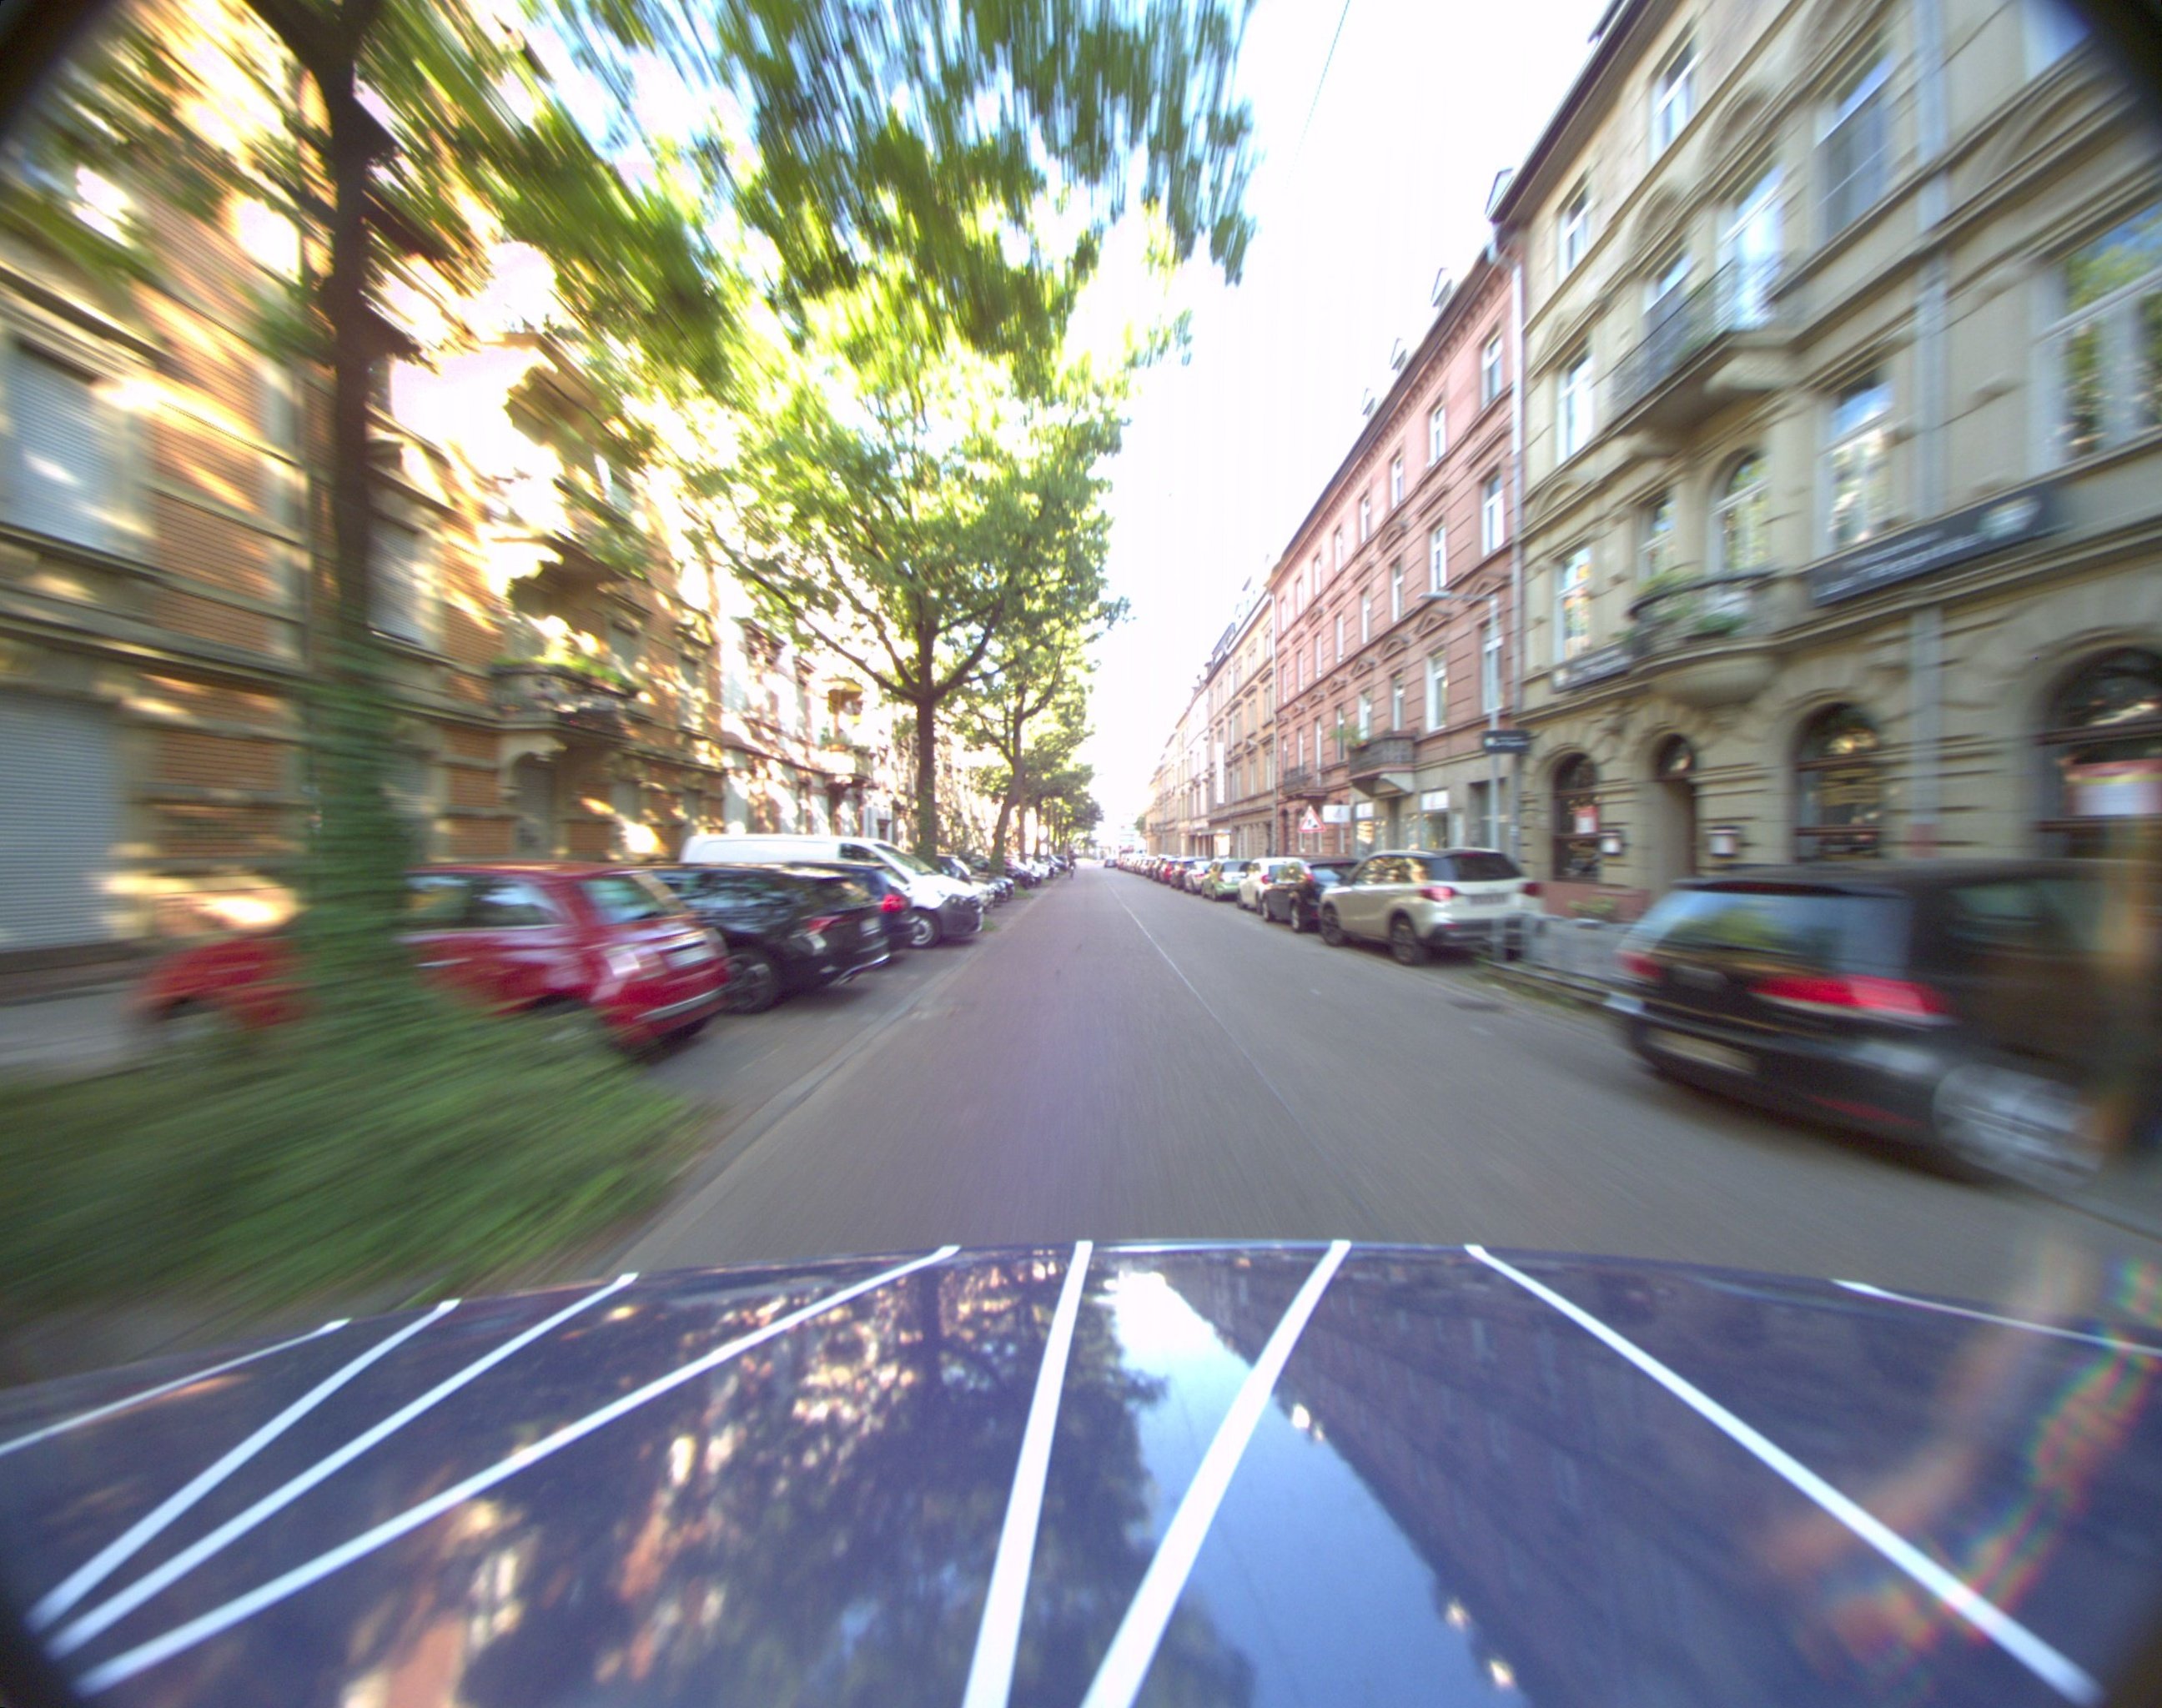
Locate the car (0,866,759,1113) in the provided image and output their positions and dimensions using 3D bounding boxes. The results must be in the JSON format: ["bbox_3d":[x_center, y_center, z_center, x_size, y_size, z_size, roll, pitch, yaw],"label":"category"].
[{"bbox_3d":[-4.831,0.855,5.636,4.091,1.489,1.843,0,0,1],"label":"car"}]

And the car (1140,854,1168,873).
[{"bbox_3d":[5.759,0.743,60.264,1.761,1.464,4.088,0,0,0],"label":"car"}]

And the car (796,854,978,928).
[{"bbox_3d":[-4.511,0.835,18.132,3.895,1.639,1.724,0,0,-2],"label":"car"}]

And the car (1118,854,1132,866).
[{"bbox_3d":[5.785,0.773,99.333,1.641,1.482,3.825,-1,0,1],"label":"car"}]

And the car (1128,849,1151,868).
[{"bbox_3d":[5.840,0.448,76.502,1.847,1.822,4.606,-1,0,-1],"label":"car"}]

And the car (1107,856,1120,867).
[{"bbox_3d":[4.863,1.128,114.476,1.868,1.620,3.825,-1,0,2],"label":"car"}]

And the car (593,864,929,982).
[{"bbox_3d":[-4.245,0.905,10.679,3.999,1.466,1.780,1,0,-7],"label":"car"}]

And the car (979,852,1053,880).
[{"bbox_3d":[-4.043,0.728,48.047,4.487,1.647,1.891,-1,2,-1],"label":"car"}]

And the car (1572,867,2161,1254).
[{"bbox_3d":[5.237,0.859,4.169,3.999,1.521,1.825,0,0,-5],"label":"car"}]

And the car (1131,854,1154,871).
[{"bbox_3d":[5.696,0.755,71.008,1.751,1.464,4.244,-1,0,0],"label":"car"}]

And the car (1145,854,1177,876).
[{"bbox_3d":[5.637,0.749,53.872,1.867,1.464,4.489,0,0,1],"label":"car"}]

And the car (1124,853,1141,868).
[{"bbox_3d":[5.925,0.677,87.628,1.771,1.648,4.158,-1,0,1],"label":"car"}]

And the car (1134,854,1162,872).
[{"bbox_3d":[5.695,0.753,64.988,1.891,1.436,4.542,-1,0,-1],"label":"car"}]

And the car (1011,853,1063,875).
[{"bbox_3d":[-3.670,0.858,63.564,4.134,1.778,1.945,0,0,2],"label":"car"}]

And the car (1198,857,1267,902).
[{"bbox_3d":[5.257,0.854,26.869,1.709,1.430,3.959,0,0,1],"label":"car"}]

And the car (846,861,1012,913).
[{"bbox_3d":[-4.545,0.983,23.292,4.671,1.494,1.932,0,0,0],"label":"car"}]

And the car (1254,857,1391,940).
[{"bbox_3d":[5.047,0.850,16.442,1.651,1.464,4.000,-3,0,0],"label":"car"}]

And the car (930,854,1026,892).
[{"bbox_3d":[-4.416,0.818,33.164,3.998,1.581,1.782,0,0,-3],"label":"car"}]

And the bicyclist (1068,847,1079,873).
[{"bbox_3d":[-0.525,0.417,53.569,0.712,1.865,1.120,0,1,1],"label":"bicyclist"}]

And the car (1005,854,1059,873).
[{"bbox_3d":[-3.860,0.744,60.793,4.155,1.446,1.936,1,0,0],"label":"car"}]

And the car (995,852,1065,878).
[{"bbox_3d":[-3.399,0.725,50.958,4.486,1.647,1.891,-1,2,2],"label":"car"}]

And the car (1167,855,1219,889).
[{"bbox_3d":[5.305,0.813,36.424,1.825,1.468,4.423,-2,0,0],"label":"car"}]

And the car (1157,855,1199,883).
[{"bbox_3d":[5.432,0.831,42.970,1.825,1.417,4.313,-2,0,0],"label":"car"}]

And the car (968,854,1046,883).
[{"bbox_3d":[-4.115,0.810,42.851,4.234,1.527,1.801,-1,0,-2],"label":"car"}]

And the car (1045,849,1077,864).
[{"bbox_3d":[-3.042,0.393,115.657,4.699,1.966,1.925,4,1,1],"label":"car"}]

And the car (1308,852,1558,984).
[{"bbox_3d":[5.046,0.802,11.582,1.652,1.565,4.048,-3,0,-4],"label":"car"}]

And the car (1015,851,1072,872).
[{"bbox_3d":[-3.367,0.668,67.949,4.933,1.623,2.078,2,0,-3],"label":"car"}]

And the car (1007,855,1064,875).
[{"bbox_3d":[-3.292,0.803,55.608,3.996,1.448,1.687,-1,0,1],"label":"car"}]

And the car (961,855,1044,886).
[{"bbox_3d":[-3.916,0.800,38.467,3.997,1.380,1.677,2,0,0],"label":"car"}]

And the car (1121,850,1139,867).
[{"bbox_3d":[5.975,0.533,93.800,1.947,2.045,4.745,-1,0,1],"label":"car"}]

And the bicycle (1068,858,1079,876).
[{"bbox_3d":[-0.541,0.891,53.526,0.712,1.252,1.887,0,0,1],"label":"bicycle"}]

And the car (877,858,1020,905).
[{"bbox_3d":[-4.504,0.913,26.352,4.563,1.520,2.000,0,0,2],"label":"car"}]

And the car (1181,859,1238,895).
[{"bbox_3d":[5.265,0.907,31.549,1.709,1.315,4.101,0,0,1],"label":"car"}]

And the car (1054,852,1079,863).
[{"bbox_3d":[-2.454,0.562,128.027,4.056,1.521,1.781,4,0,1],"label":"car"}]

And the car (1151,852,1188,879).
[{"bbox_3d":[5.473,0.681,47.388,1.825,1.591,4.313,-2,0,0],"label":"car"}]

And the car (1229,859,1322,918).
[{"bbox_3d":[5.316,0.889,21.251,1.586,1.464,4.000,0,0,0],"label":"car"}]

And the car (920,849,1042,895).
[{"bbox_3d":[-3.929,0.711,30.481,4.657,1.692,1.881,1,0,-3],"label":"car"}]

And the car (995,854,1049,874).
[{"bbox_3d":[-4.499,0.777,58.299,3.998,1.486,1.687,-1,0,-2],"label":"car"}]

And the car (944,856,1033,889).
[{"bbox_3d":[-4.290,0.846,35.760,3.998,1.454,1.782,0,0,-3],"label":"car"}]

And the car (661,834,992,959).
[{"bbox_3d":[-4.288,0.678,13.527,5.104,1.930,2.157,-1,4,1],"label":"car"}]

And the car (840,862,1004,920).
[{"bbox_3d":[-4.327,0.990,21.064,4.115,1.494,1.811,0,0,2],"label":"car"}]

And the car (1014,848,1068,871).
[{"bbox_3d":[-3.730,0.510,71.181,4.933,1.890,2.175,2,0,-3],"label":"car"}]

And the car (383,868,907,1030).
[{"bbox_3d":[-4.261,0.901,7.991,4.380,1.447,1.934,0,0,1],"label":"car"}]

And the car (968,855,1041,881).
[{"bbox_3d":[-4.540,0.841,45.523,4.110,1.461,1.801,-1,0,2],"label":"car"}]

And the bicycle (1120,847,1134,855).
[{"bbox_3d":[6.862,-0.497,112.980,2.043,1.092,0.587,-1,1,3],"label":"bicycle"}]
